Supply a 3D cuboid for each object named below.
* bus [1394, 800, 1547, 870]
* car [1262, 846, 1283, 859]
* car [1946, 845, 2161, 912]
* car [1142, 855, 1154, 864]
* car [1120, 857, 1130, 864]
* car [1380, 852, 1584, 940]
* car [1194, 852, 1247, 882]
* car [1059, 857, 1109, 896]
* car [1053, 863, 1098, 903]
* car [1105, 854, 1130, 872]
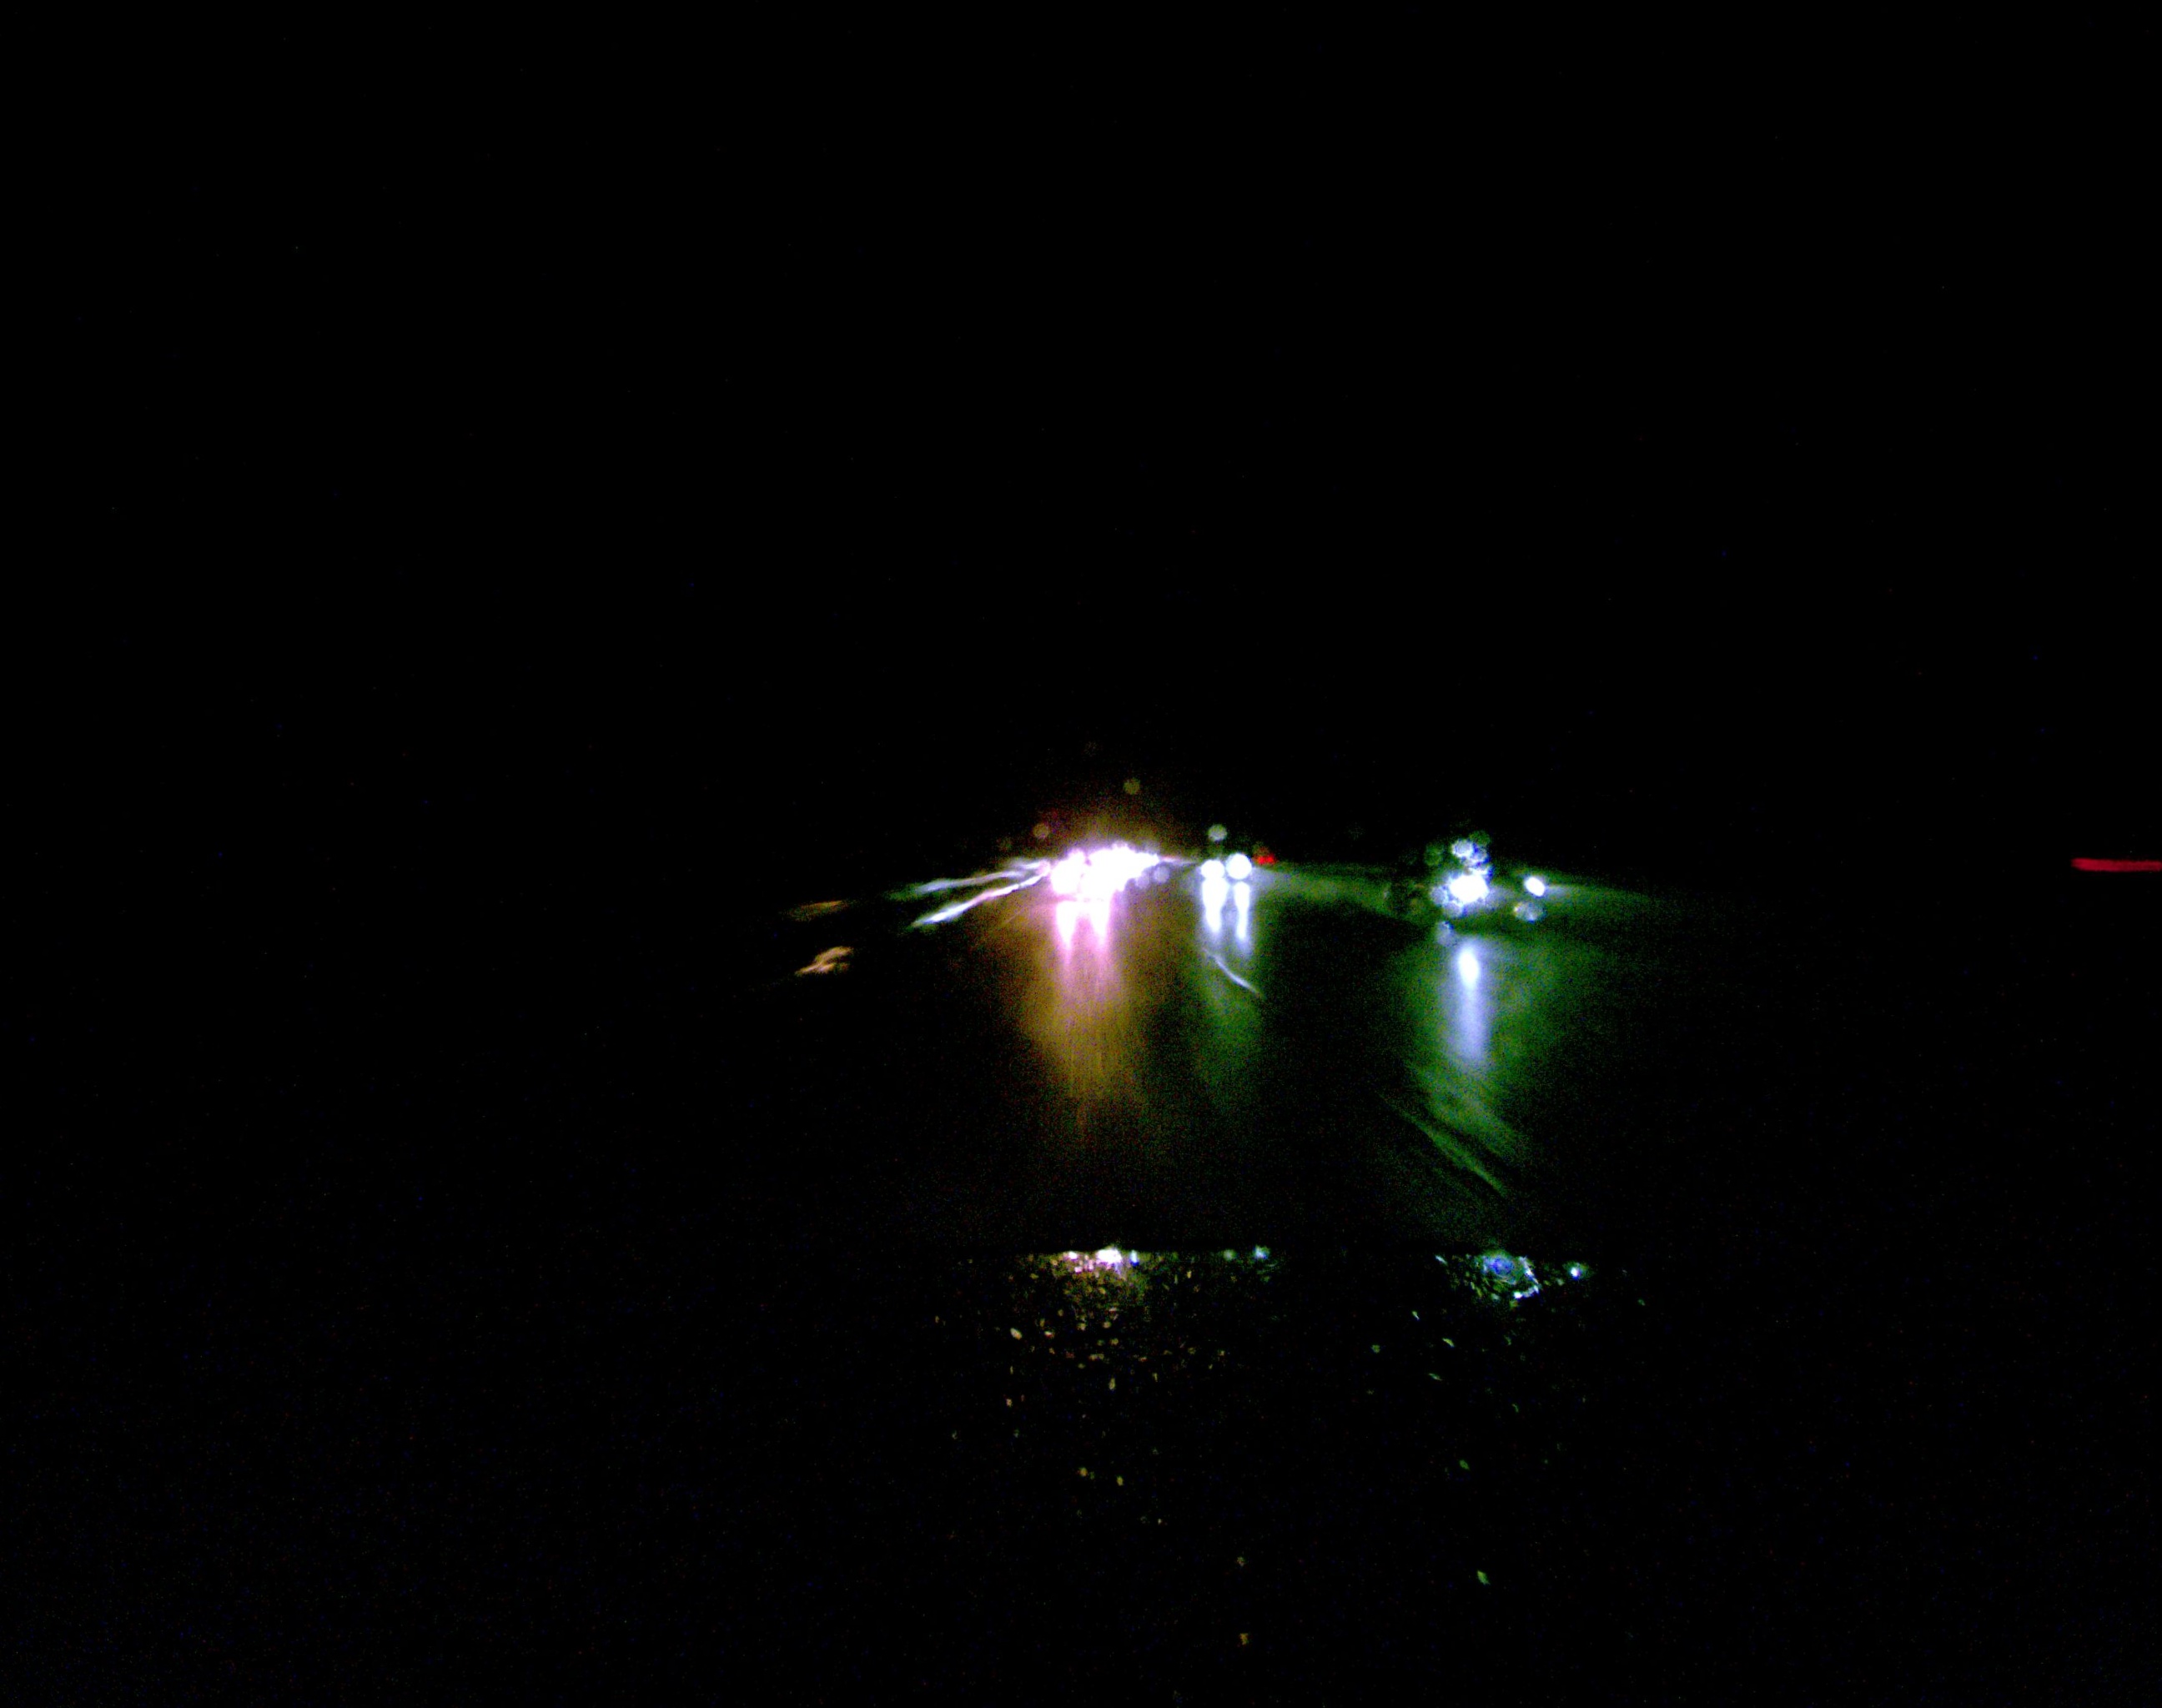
[{"bbox_3d":[28.867,-1.339,57.985,3.379,4.423,16.541,-2,1,1],"label":"bus"},{"bbox_3d":[26.248,-0.190,104.303,1.884,1.712,4.263,-2,1,1],"label":"car"},{"bbox_3d":[28.726,0.630,22.280,1.884,1.712,4.263,-2,1,1],"label":"car"},{"bbox_3d":[12.755,0.974,145.415,1.998,1.551,4.587,-2,1,1],"label":"car"},{"bbox_3d":[9.902,1.474,170.358,1.998,1.551,4.587,-2,1,1],"label":"car"},{"bbox_3d":[7.804,0.724,15.303,1.998,1.433,3.999,-2,1,1],"label":"car"},{"bbox_3d":[7.903,0.682,43.471,1.999,1.468,5.164,-2,1,0],"label":"car"},{"bbox_3d":[0.140,0.989,33.247,1.998,1.542,4.001,-2,-1,1],"label":"car"},{"bbox_3d":[-0.173,1.014,27.973,1.526,1.256,3.368,-2,1,0],"label":"car"},{"bbox_3d":[3.388,0.830,71.700,1.999,1.468,4.840,-2,1,0],"label":"car"}]
